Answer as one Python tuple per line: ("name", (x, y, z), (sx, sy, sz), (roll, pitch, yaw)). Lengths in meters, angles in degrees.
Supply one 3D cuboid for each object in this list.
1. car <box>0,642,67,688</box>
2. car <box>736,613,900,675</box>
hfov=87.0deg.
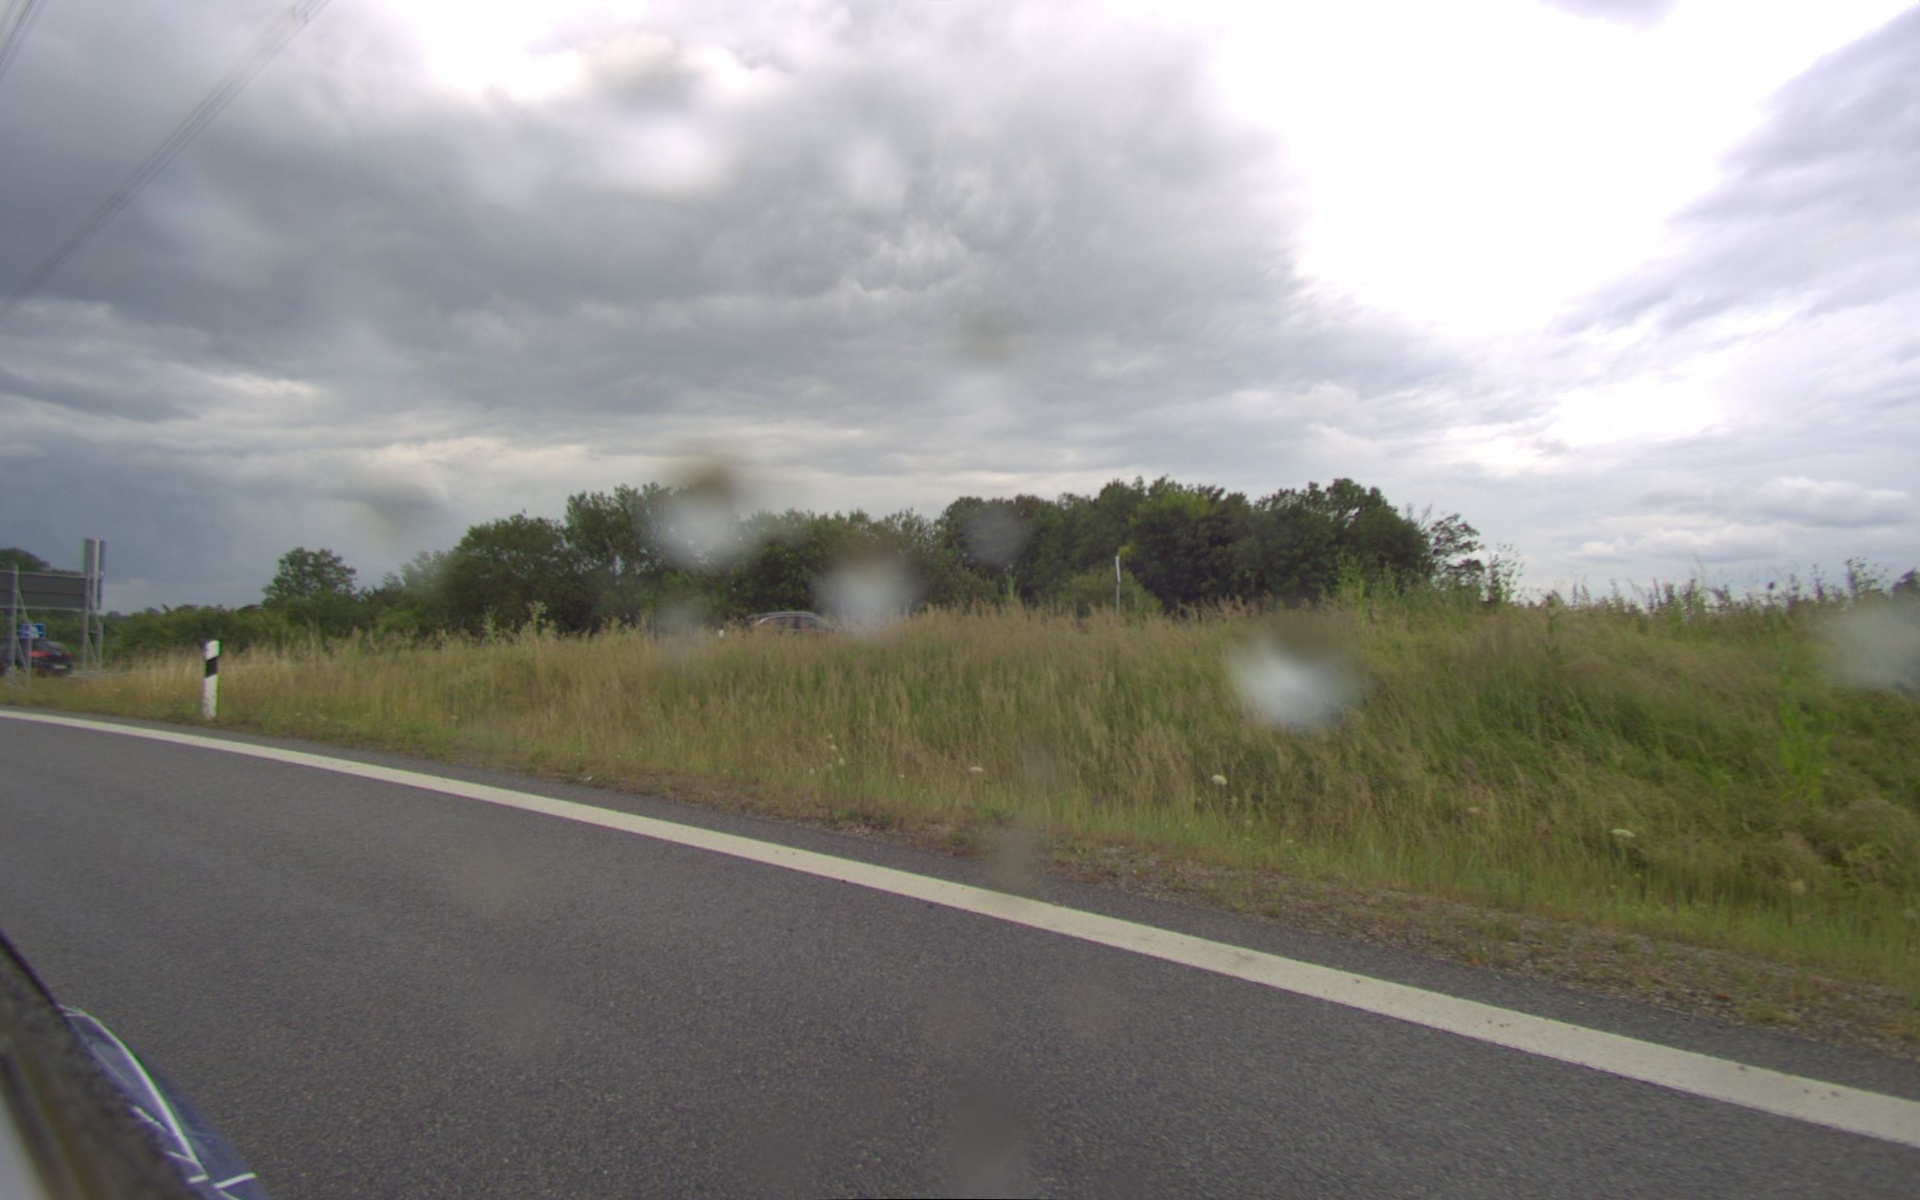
("car", (-30.239, 2.012, 31.384), (3.659, 1.360, 1.481), (0, -1, -4))
("car", (-4.012, 1.276, 29.232), (4.526, 1.733, 2.001), (0, -3, -3))
